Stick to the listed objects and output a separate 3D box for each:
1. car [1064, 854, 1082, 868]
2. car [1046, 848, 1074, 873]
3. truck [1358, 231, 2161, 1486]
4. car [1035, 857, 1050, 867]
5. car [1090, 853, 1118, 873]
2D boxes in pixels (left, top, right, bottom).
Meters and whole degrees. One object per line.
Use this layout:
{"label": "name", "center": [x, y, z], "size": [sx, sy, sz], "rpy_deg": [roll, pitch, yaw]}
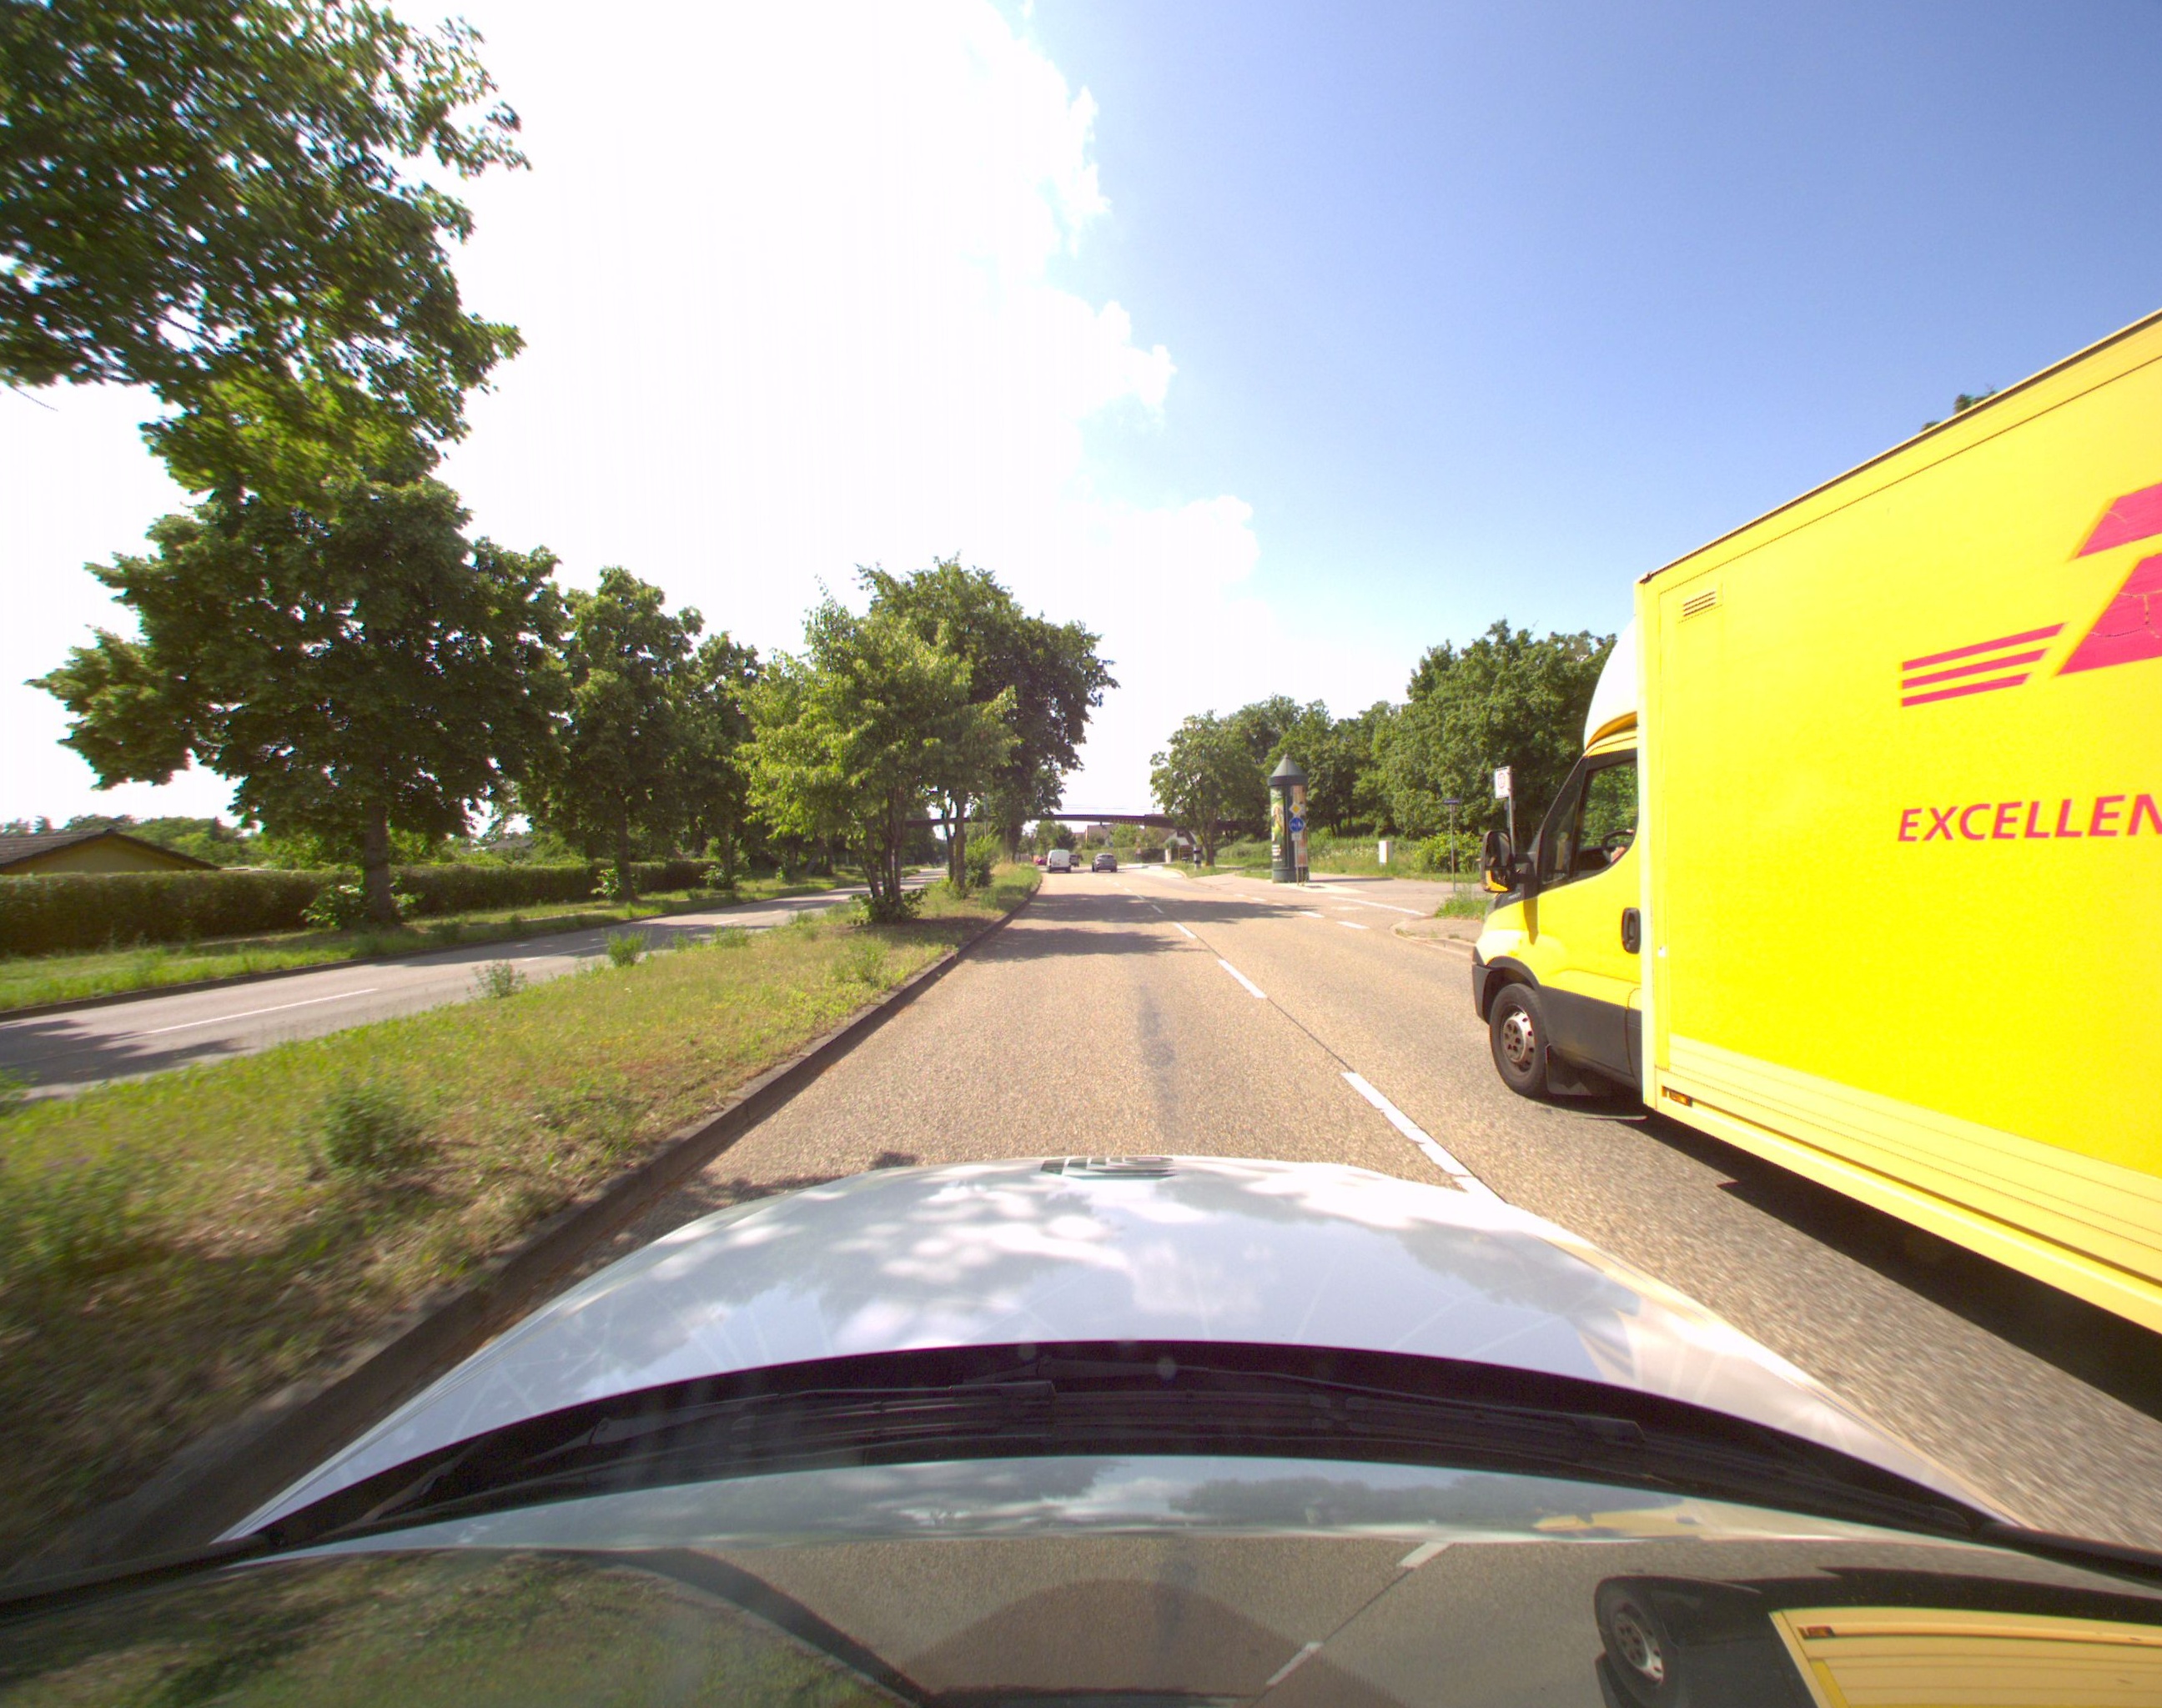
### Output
{"label": "car", "center": [-0.975, 0.881, 98.738], "size": [1.872, 1.652, 3.993], "rpy_deg": [-2, -1, -5]}
{"label": "car", "center": [-1.729, 0.501, 65.026], "size": [2.062, 1.912, 4.639], "rpy_deg": [-1, 0, -4]}
{"label": "truck", "center": [3.621, 0.004, 3.394], "size": [2.257, 2.880, 8.027], "rpy_deg": [0, 0, 0]}
{"label": "car", "center": [-6.408, 1.310, 135.026], "size": [1.880, 1.587, 3.987], "rpy_deg": [-1, 0, -9]}
{"label": "car", "center": [1.832, 0.740, 66.639], "size": [1.871, 1.589, 4.179], "rpy_deg": [-2, -1, -3]}
